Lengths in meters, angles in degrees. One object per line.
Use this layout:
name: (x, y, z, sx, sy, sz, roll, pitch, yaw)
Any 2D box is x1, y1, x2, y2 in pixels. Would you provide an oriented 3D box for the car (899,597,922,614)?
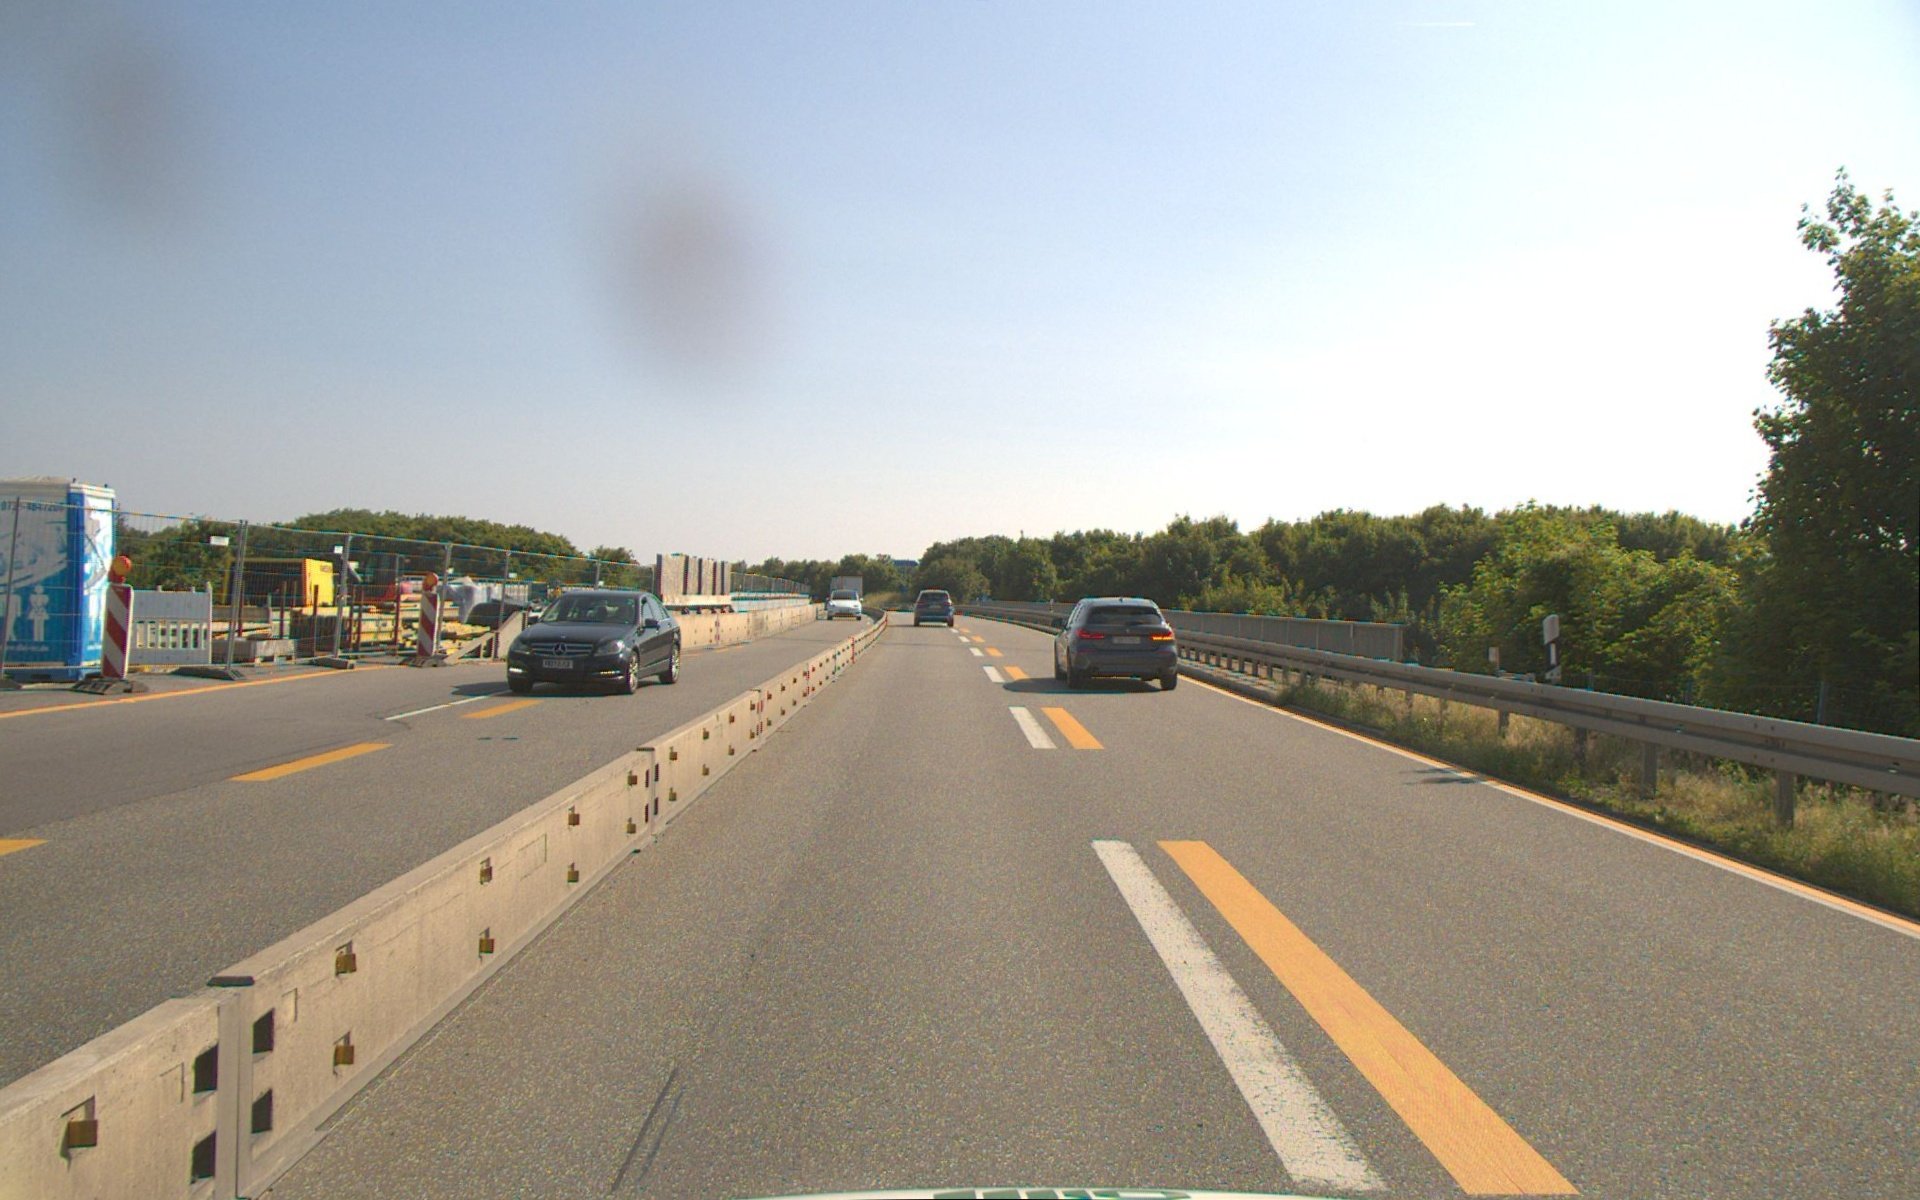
car: (-5.144, 0.578, 171.779, 1.956, 1.717, 3.993, 2, 0, -8)

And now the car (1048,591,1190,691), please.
car: (2.572, 0.631, 27.630, 1.881, 1.520, 3.999, 1, 0, -2)

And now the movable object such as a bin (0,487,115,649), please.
movable object such as a bin: (-17.584, -0.653, 29.324, 1.990, 2.761, 5.110, 7, 0, 4)

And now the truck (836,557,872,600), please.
truck: (-13.028, -2.609, 204.461, 3.685, 4.997, 14.134, 2, 0, -1)

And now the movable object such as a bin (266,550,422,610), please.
movable object such as a bin: (-23.417, -0.769, 62.875, 5.279, 2.153, 2.239, 1, 0, 18)

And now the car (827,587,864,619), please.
car: (-6.364, 0.164, 92.500, 1.942, 1.680, 4.546, 2, 0, -3)

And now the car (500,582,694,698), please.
car: (-5.297, 0.513, 24.786, 1.821, 1.499, 4.684, 2, 1, 0)

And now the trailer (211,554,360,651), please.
trailer: (-12.804, 0.029, 31.594, 1.687, 1.677, 3.528, 3, 0, -7)

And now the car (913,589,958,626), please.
car: (-1.086, 0.337, 74.780, 1.953, 1.594, 4.000, 1, 0, 0)
